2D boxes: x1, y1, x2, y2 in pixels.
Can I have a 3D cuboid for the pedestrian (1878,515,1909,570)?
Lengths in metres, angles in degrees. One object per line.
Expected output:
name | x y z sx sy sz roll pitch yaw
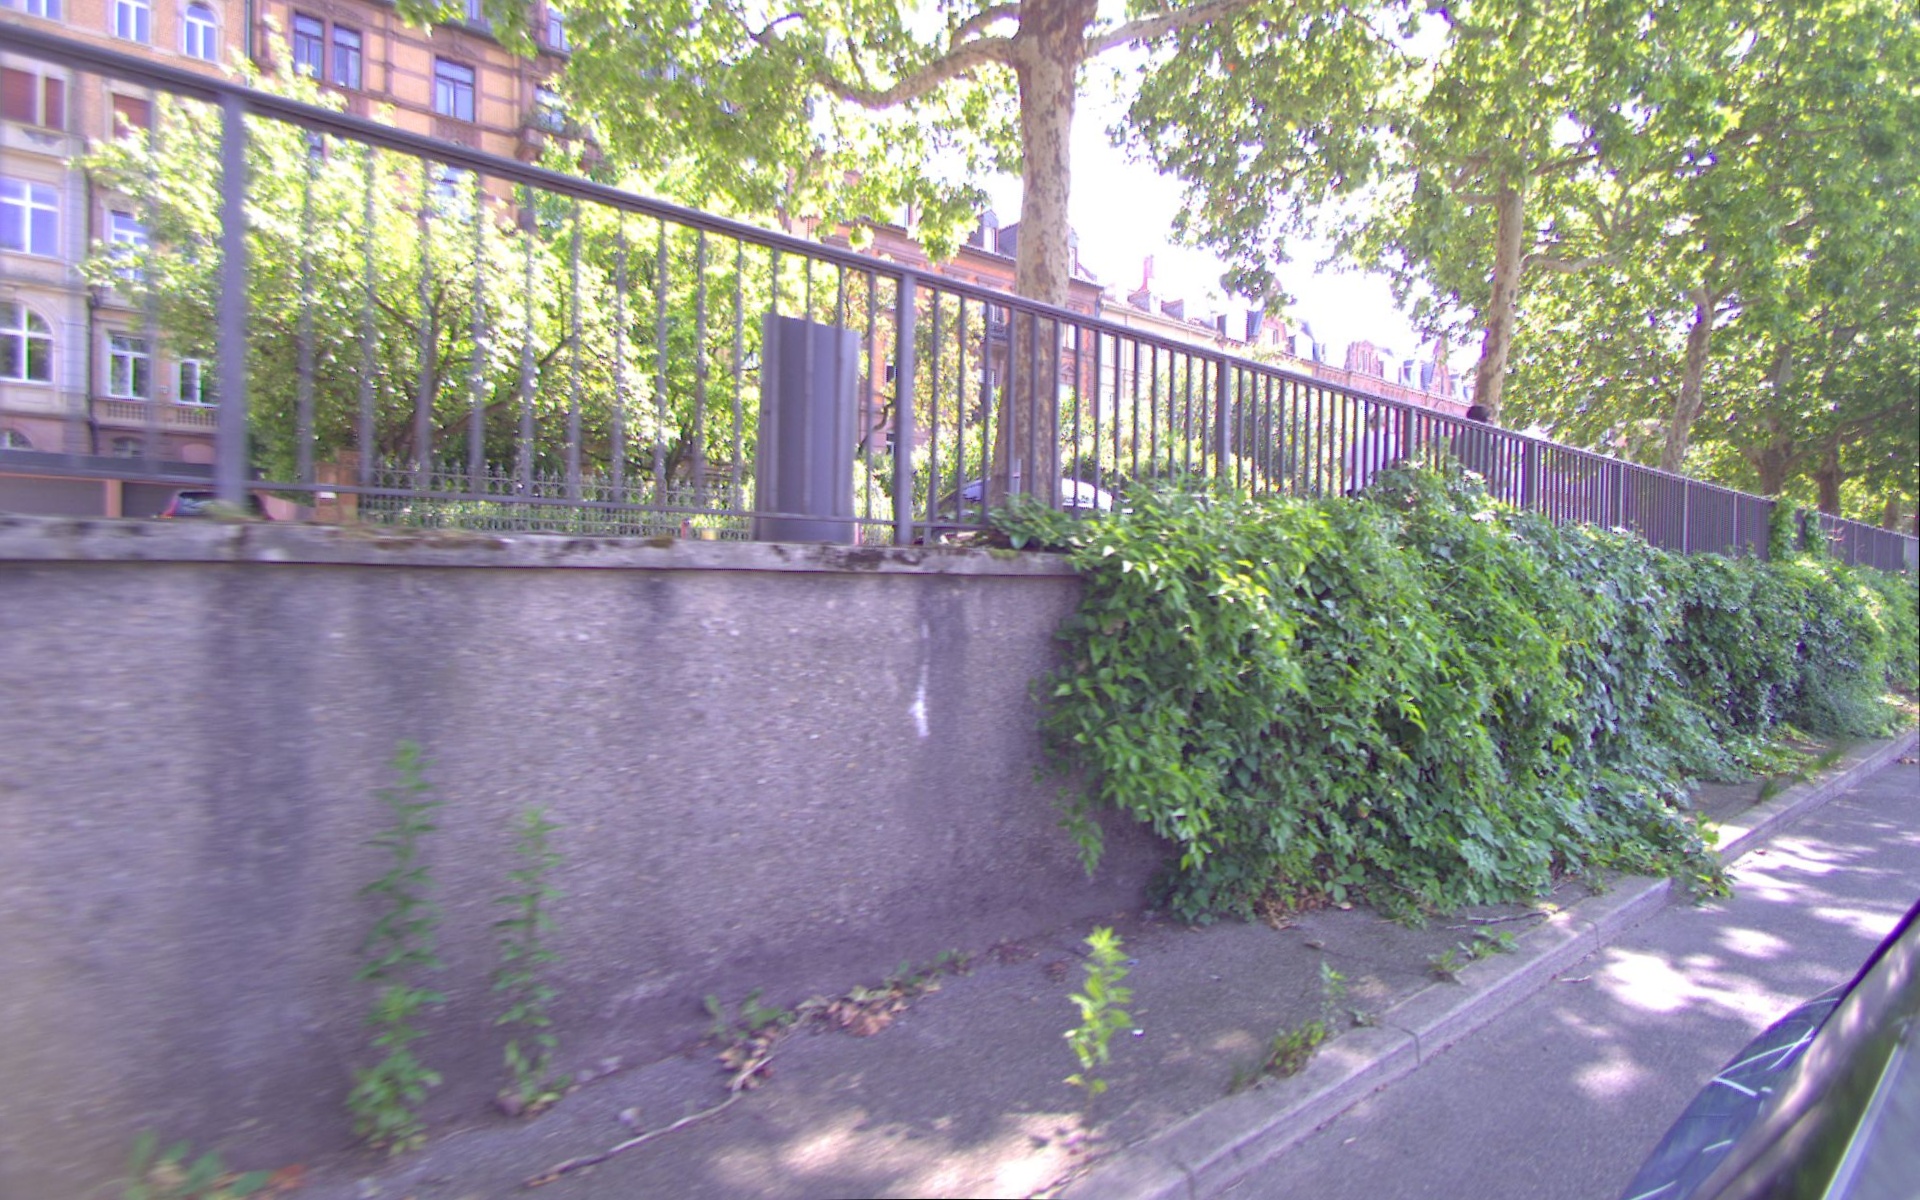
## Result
pedestrian | 24.922 -1.527 27.021 0.584 1.437 0.580 1 1 42

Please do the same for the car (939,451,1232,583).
car | 1.275 -0.921 11.676 1.484 1.250 3.540 1 3 -30

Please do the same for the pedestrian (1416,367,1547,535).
pedestrian | 4.678 -1.296 9.086 0.800 1.382 0.754 0 3 -42

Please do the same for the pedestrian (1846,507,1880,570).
pedestrian | 24.489 -1.661 27.445 0.646 1.660 0.617 1 1 42

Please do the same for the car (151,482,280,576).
car | -14.227 -1.256 19.266 1.759 1.556 3.792 1 0 -40

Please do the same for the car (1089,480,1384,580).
car | 3.875 -1.010 14.539 3.724 1.250 1.649 5 4 42

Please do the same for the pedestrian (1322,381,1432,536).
pedestrian | 4.014 -1.332 9.750 0.781 1.382 0.645 0 3 -42
